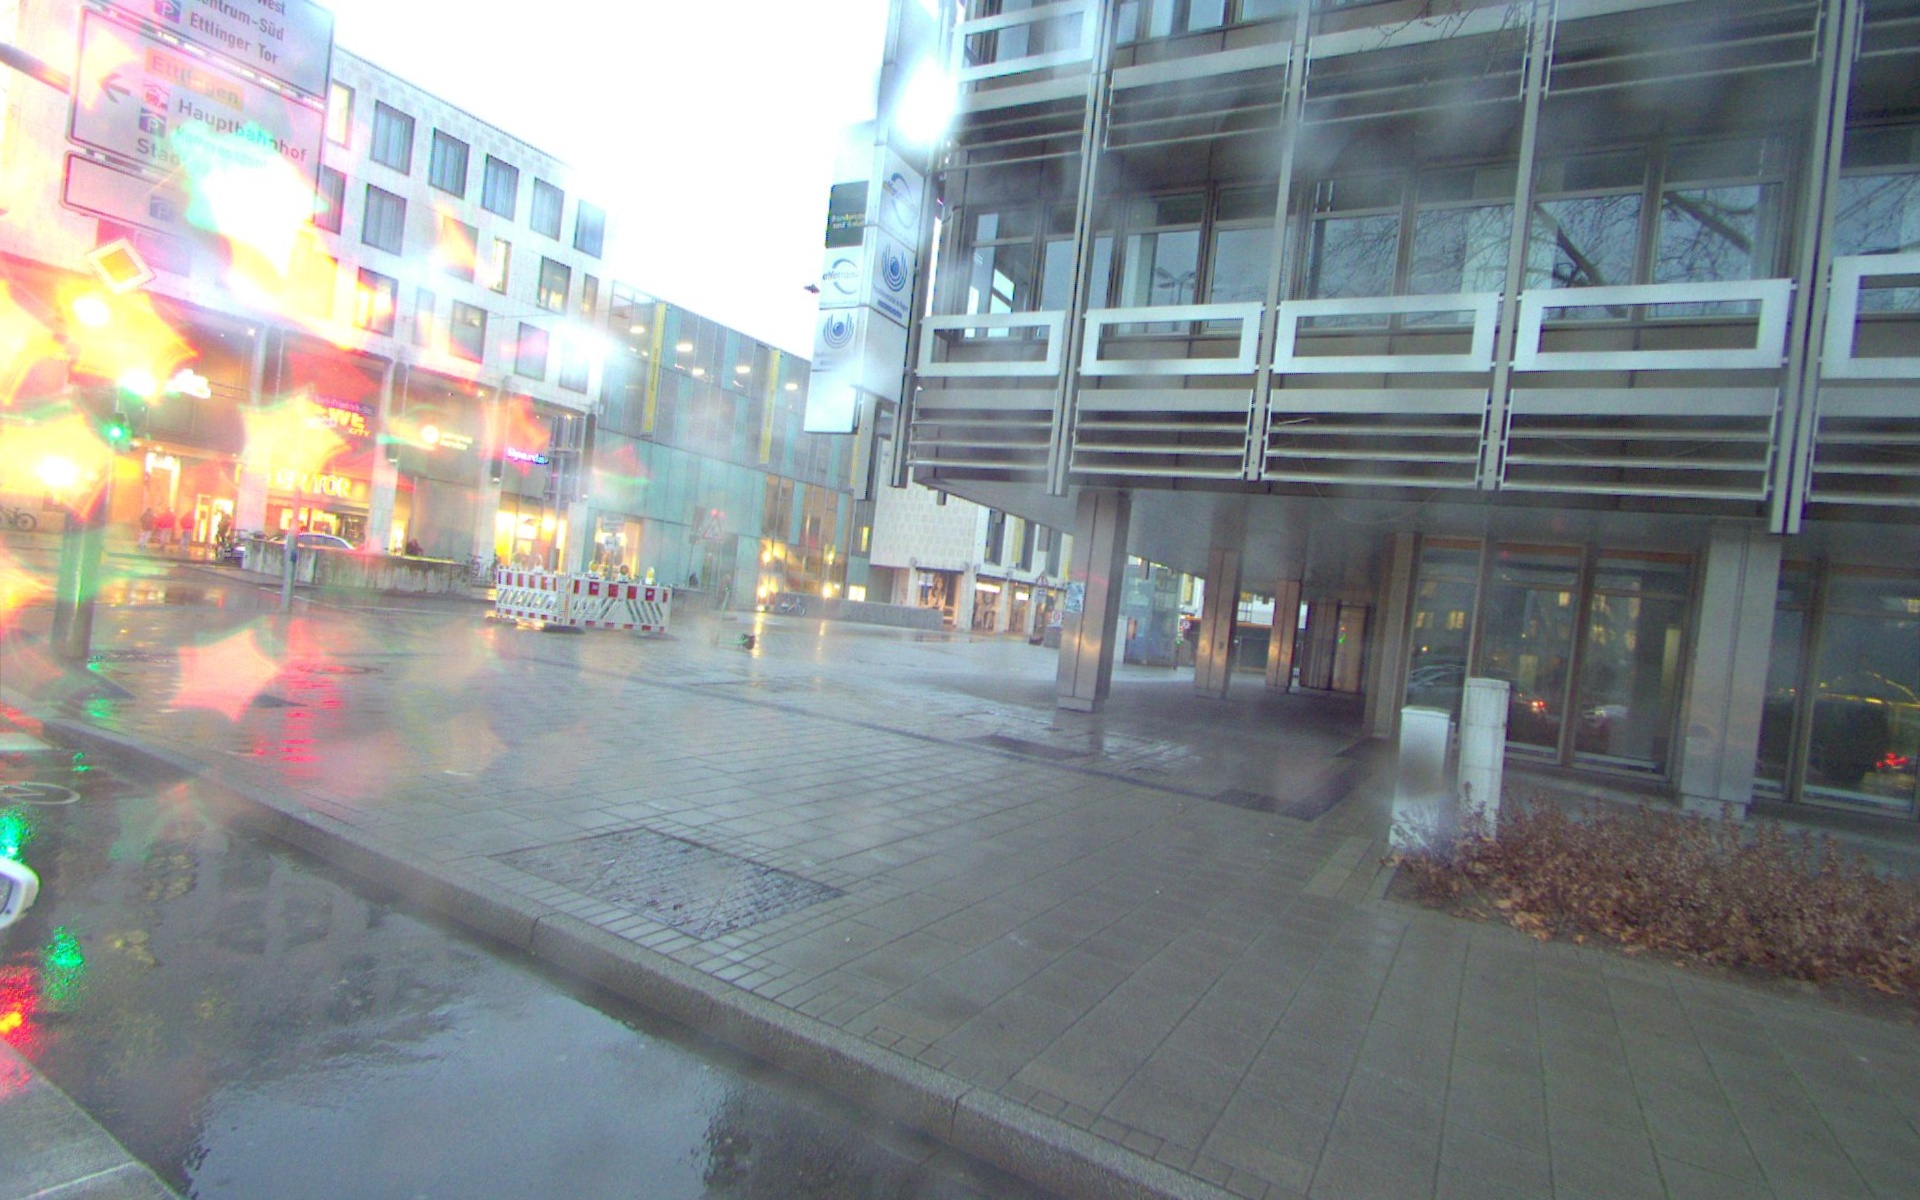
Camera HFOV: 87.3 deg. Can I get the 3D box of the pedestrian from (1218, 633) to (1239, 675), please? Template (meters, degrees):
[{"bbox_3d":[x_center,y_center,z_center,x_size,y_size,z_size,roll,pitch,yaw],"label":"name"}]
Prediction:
[{"bbox_3d":[11.934,2.397,44.691,0.678,1.796,0.660,7,-1,16],"label":"pedestrian"}]

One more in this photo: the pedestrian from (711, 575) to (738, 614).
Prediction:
[{"bbox_3d":[-11.212,-0.266,47.965,0.770,1.703,0.742,6,-1,38],"label":"pedestrian"}]

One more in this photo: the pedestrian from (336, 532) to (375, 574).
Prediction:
[{"bbox_3d":[-26.934,-2.097,44.828,0.810,1.703,1.032,6,-1,31],"label":"pedestrian"}]

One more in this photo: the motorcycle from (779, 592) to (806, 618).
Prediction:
[{"bbox_3d":[-10.178,0.293,61.130,0.585,1.368,1.491,7,-1,36],"label":"motorcycle"}]

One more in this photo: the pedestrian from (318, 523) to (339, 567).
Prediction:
[{"bbox_3d":[-28.271,-2.458,45.012,0.355,1.849,0.551,6,1,32],"label":"pedestrian"}]

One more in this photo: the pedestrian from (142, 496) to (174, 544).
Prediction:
[{"bbox_3d":[-36.136,-3.615,45.328,0.688,2.038,0.845,7,1,40],"label":"pedestrian"}]

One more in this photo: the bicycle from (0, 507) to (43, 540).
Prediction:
[{"bbox_3d":[-36.412,-2.977,38.612,0.515,1.082,1.651,7,-2,28],"label":"bicycle"}]

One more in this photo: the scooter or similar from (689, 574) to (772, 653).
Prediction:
[{"bbox_3d":[-4.606,0.264,20.199,1.470,1.368,0.593,7,-1,32],"label":"scooter or similar"}]

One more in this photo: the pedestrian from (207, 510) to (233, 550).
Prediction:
[{"bbox_3d":[-33.689,-3.175,45.818,0.729,1.740,0.733,6,1,-31],"label":"pedestrian"}]

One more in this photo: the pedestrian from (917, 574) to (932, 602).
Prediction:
[{"bbox_3d":[-2.248,-0.774,64.079,0.573,1.703,0.542,6,-1,38],"label":"pedestrian"}]

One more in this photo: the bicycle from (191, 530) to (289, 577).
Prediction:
[{"bbox_3d":[-26.341,-1.680,36.877,0.941,1.375,2.718,6,-1,28],"label":"bicycle"}]

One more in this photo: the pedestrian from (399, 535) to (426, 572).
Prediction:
[{"bbox_3d":[-26.570,-2.247,48.807,0.519,1.705,0.894,6,0,31],"label":"pedestrian"}]

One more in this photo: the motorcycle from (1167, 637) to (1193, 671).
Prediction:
[{"bbox_3d":[9.672,2.381,44.222,0.584,1.368,1.493,7,-1,29],"label":"motorcycle"}]

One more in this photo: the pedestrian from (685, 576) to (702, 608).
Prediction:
[{"bbox_3d":[-15.146,-0.447,57.170,0.573,1.703,0.542,6,-1,38],"label":"pedestrian"}]

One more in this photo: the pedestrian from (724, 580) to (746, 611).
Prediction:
[{"bbox_3d":[-13.012,-0.256,58.104,0.770,1.703,0.742,6,-1,38],"label":"pedestrian"}]

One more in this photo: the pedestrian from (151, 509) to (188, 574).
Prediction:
[{"bbox_3d":[-31.319,-2.310,39.845,0.745,2.469,0.691,7,-1,31],"label":"pedestrian"}]

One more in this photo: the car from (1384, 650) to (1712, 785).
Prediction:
[{"bbox_3d":[8.768,1.668,15.243,3.935,1.327,1.994,6,1,33],"label":"car"}]

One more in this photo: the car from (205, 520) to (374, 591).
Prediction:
[{"bbox_3d":[-21.691,-1.404,32.670,1.968,1.636,3.994,6,-2,33],"label":"car"}]

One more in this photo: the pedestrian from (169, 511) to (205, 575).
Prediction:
[{"bbox_3d":[-31.293,-2.310,40.722,0.778,2.477,0.694,7,-1,32],"label":"pedestrian"}]

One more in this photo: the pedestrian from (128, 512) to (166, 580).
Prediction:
[{"bbox_3d":[-31.474,-2.089,38.941,0.745,2.469,0.716,7,-1,31],"label":"pedestrian"}]

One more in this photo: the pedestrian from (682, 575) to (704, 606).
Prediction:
[{"bbox_3d":[-15.783,-0.556,59.440,0.770,1.703,0.742,6,-1,38],"label":"pedestrian"}]
